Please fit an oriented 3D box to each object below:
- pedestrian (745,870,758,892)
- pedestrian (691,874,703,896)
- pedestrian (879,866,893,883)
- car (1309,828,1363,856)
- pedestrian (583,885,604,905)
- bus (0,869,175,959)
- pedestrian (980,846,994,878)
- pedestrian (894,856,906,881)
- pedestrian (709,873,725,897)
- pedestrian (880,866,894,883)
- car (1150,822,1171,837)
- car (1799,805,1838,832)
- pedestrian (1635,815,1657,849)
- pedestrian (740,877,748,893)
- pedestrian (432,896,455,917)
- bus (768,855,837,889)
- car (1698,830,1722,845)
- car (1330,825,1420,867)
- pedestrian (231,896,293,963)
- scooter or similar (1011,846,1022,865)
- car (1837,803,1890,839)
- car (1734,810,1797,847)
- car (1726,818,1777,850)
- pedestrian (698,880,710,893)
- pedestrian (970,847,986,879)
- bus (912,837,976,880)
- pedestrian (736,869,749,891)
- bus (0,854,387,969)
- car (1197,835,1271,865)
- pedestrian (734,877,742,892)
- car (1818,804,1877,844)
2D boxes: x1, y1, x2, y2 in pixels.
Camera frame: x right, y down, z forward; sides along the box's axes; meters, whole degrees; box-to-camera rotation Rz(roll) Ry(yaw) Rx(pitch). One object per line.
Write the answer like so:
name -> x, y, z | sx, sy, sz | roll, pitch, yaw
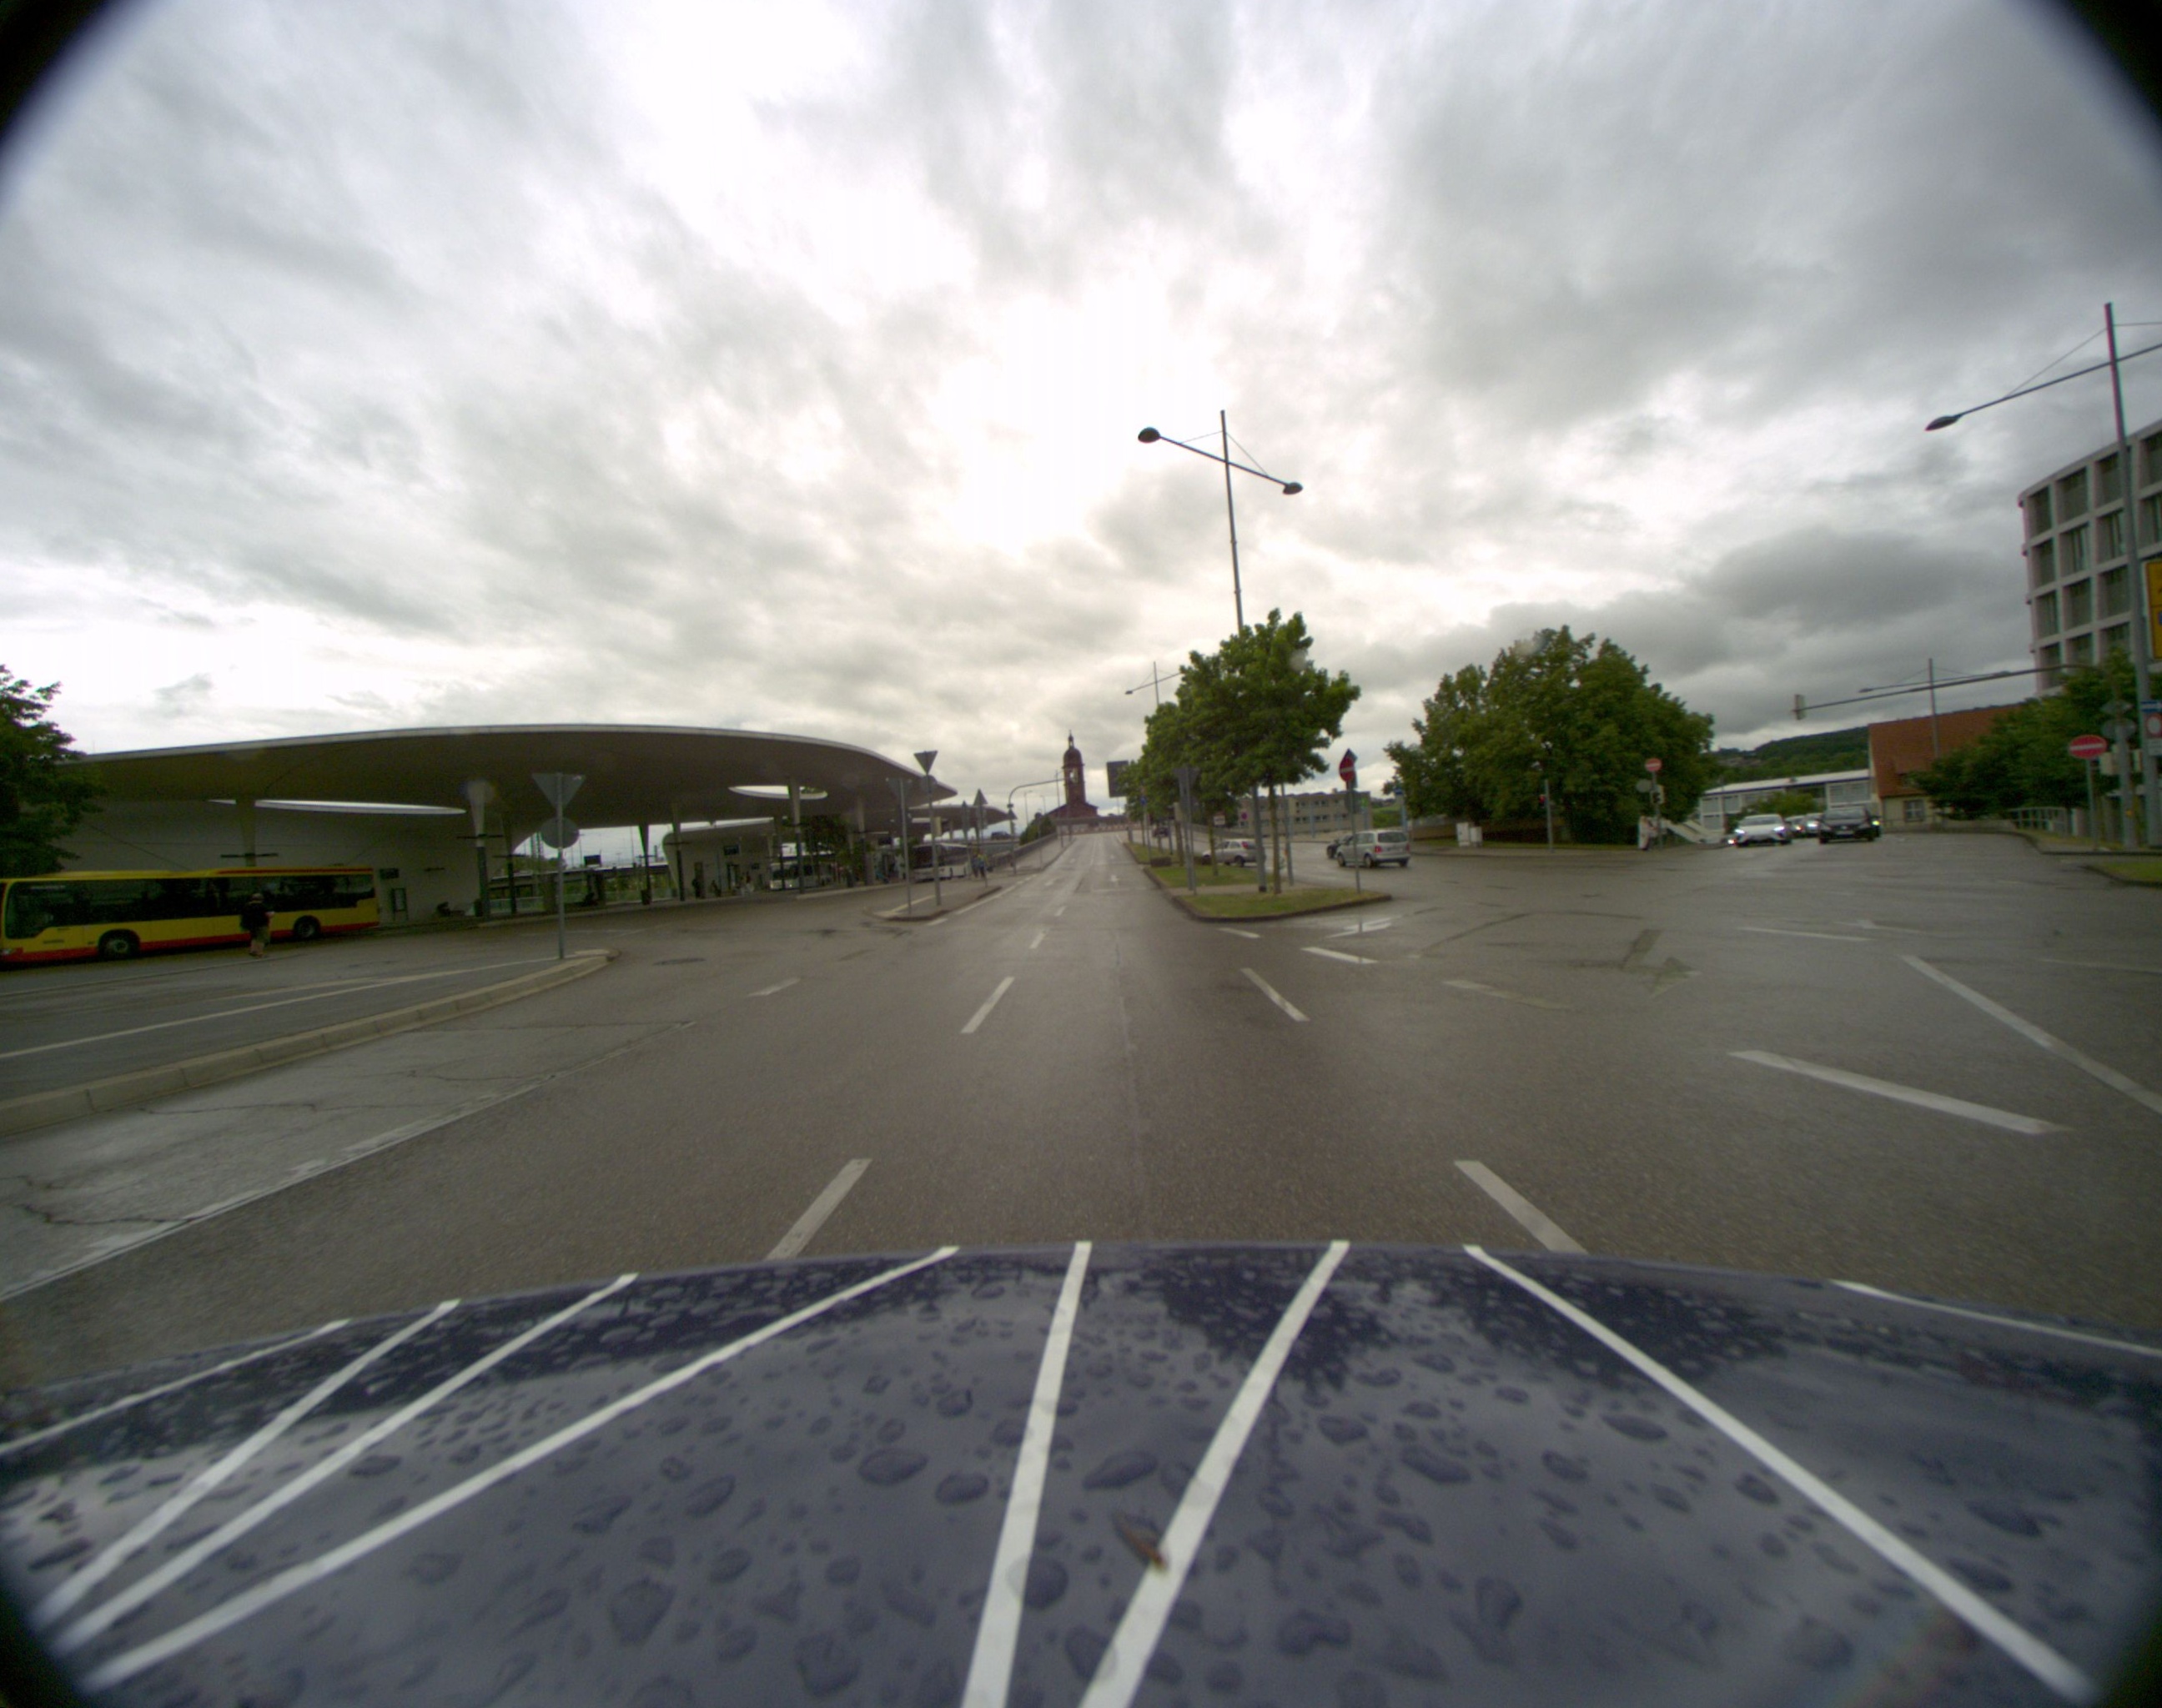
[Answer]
pedestrian -> -25.134, 2.061, 57.976 | 0.644, 1.645, 0.638 | -4, 1, -38
pedestrian -> -25.687, 2.072, 50.833 | 0.522, 1.493, 0.381 | -5, 2, -38
pedestrian -> -14.997, 1.552, 58.313 | 0.954, 1.247, 0.648 | -1, -1, -21
car -> 15.585, -0.736, 46.771 | 1.851, 1.495, 4.920 | -4, 1, 3
pedestrian -> -34.759, 2.915, 54.139 | 0.710, 1.318, 0.801 | -7, 4, 10
bus -> -43.490, 2.492, 30.337 | 2.521, 3.380, 9.856 | -3, 1, 1
pedestrian -> -5.187, 0.443, 42.134 | 0.523, 1.661, 0.580 | -5, 4, 2
pedestrian -> -13.842, 1.081, 58.168 | 0.585, 1.875, 0.649 | -2, -1, 12
pedestrian -> -25.355, 2.142, 52.905 | 0.590, 1.581, 0.677 | -7, 4, -2
pedestrian -> -14.723, 1.534, 57.639 | 0.954, 1.247, 0.648 | -1, -1, -21
car -> 9.880, -3.118, 94.738 | 1.913, 1.653, 4.854 | -4, 3, -1
car -> 47.732, -2.307, 49.162 | 1.723, 1.559, 3.845 | -3, 1, 45
pedestrian -> 26.301, -1.029, 35.371 | 0.652, 1.562, 0.631 | -1, 3, 17
pedestrian -> -24.582, 2.248, 55.422 | 0.395, 1.138, 0.364 | -2, 1, 44
pedestrian -> -45.759, 3.757, 54.513 | 0.711, 1.318, 0.801 | -7, 4, 5
bus -> -31.370, 1.945, 86.467 | 2.795, 3.238, 12.141 | -4, 1, 2
car -> 65.461, -1.753, 79.138 | 1.569, 1.387, 3.186 | -3, 1, 34
car -> 13.084, -0.347, 34.155 | 1.853, 1.643, 4.416 | -4, 1, -7
pedestrian -> -22.122, 2.023, 20.543 | 0.720, 1.674, 1.019 | -2, 1, -23
scooter or similar -> -4.490, 0.091, 53.191 | 0.465, 1.214, 1.859 | -4, 1, 2
car -> 38.626, -1.653, 37.581 | 1.723, 1.559, 3.845 | -3, 1, 45
car -> 33.134, -1.261, 36.745 | 4.148, 1.559, 1.883 | -4, 1, -43
car -> 36.603, -1.126, 41.442 | 4.063, 1.499, 1.723 | -4, 1, -44
pedestrian -> -44.361, 3.813, 89.441 | 0.800, 1.318, 0.711 | -7, 4, 7
pedestrian -> -5.740, 0.483, 42.206 | 0.590, 1.662, 0.580 | -7, 5, 2
bus -> -11.790, 0.285, 67.018 | 2.851, 3.342, 12.426 | -2, 0, 2
pedestrian -> -25.268, 1.934, 56.736 | 0.570, 1.645, 0.557 | -3, 1, 8
bus -> -33.471, 1.811, 28.821 | 2.795, 3.239, 12.139 | -4, 1, 1
car -> 8.147, -0.211, 40.669 | 1.639, 1.440, 3.867 | -4, 2, -32
pedestrian -> -24.959, 2.197, 55.224 | 0.391, 1.075, 0.352 | -2, 1, 43
car -> 33.806, -1.329, 33.556 | 1.723, 1.559, 3.845 | -3, 1, 45
